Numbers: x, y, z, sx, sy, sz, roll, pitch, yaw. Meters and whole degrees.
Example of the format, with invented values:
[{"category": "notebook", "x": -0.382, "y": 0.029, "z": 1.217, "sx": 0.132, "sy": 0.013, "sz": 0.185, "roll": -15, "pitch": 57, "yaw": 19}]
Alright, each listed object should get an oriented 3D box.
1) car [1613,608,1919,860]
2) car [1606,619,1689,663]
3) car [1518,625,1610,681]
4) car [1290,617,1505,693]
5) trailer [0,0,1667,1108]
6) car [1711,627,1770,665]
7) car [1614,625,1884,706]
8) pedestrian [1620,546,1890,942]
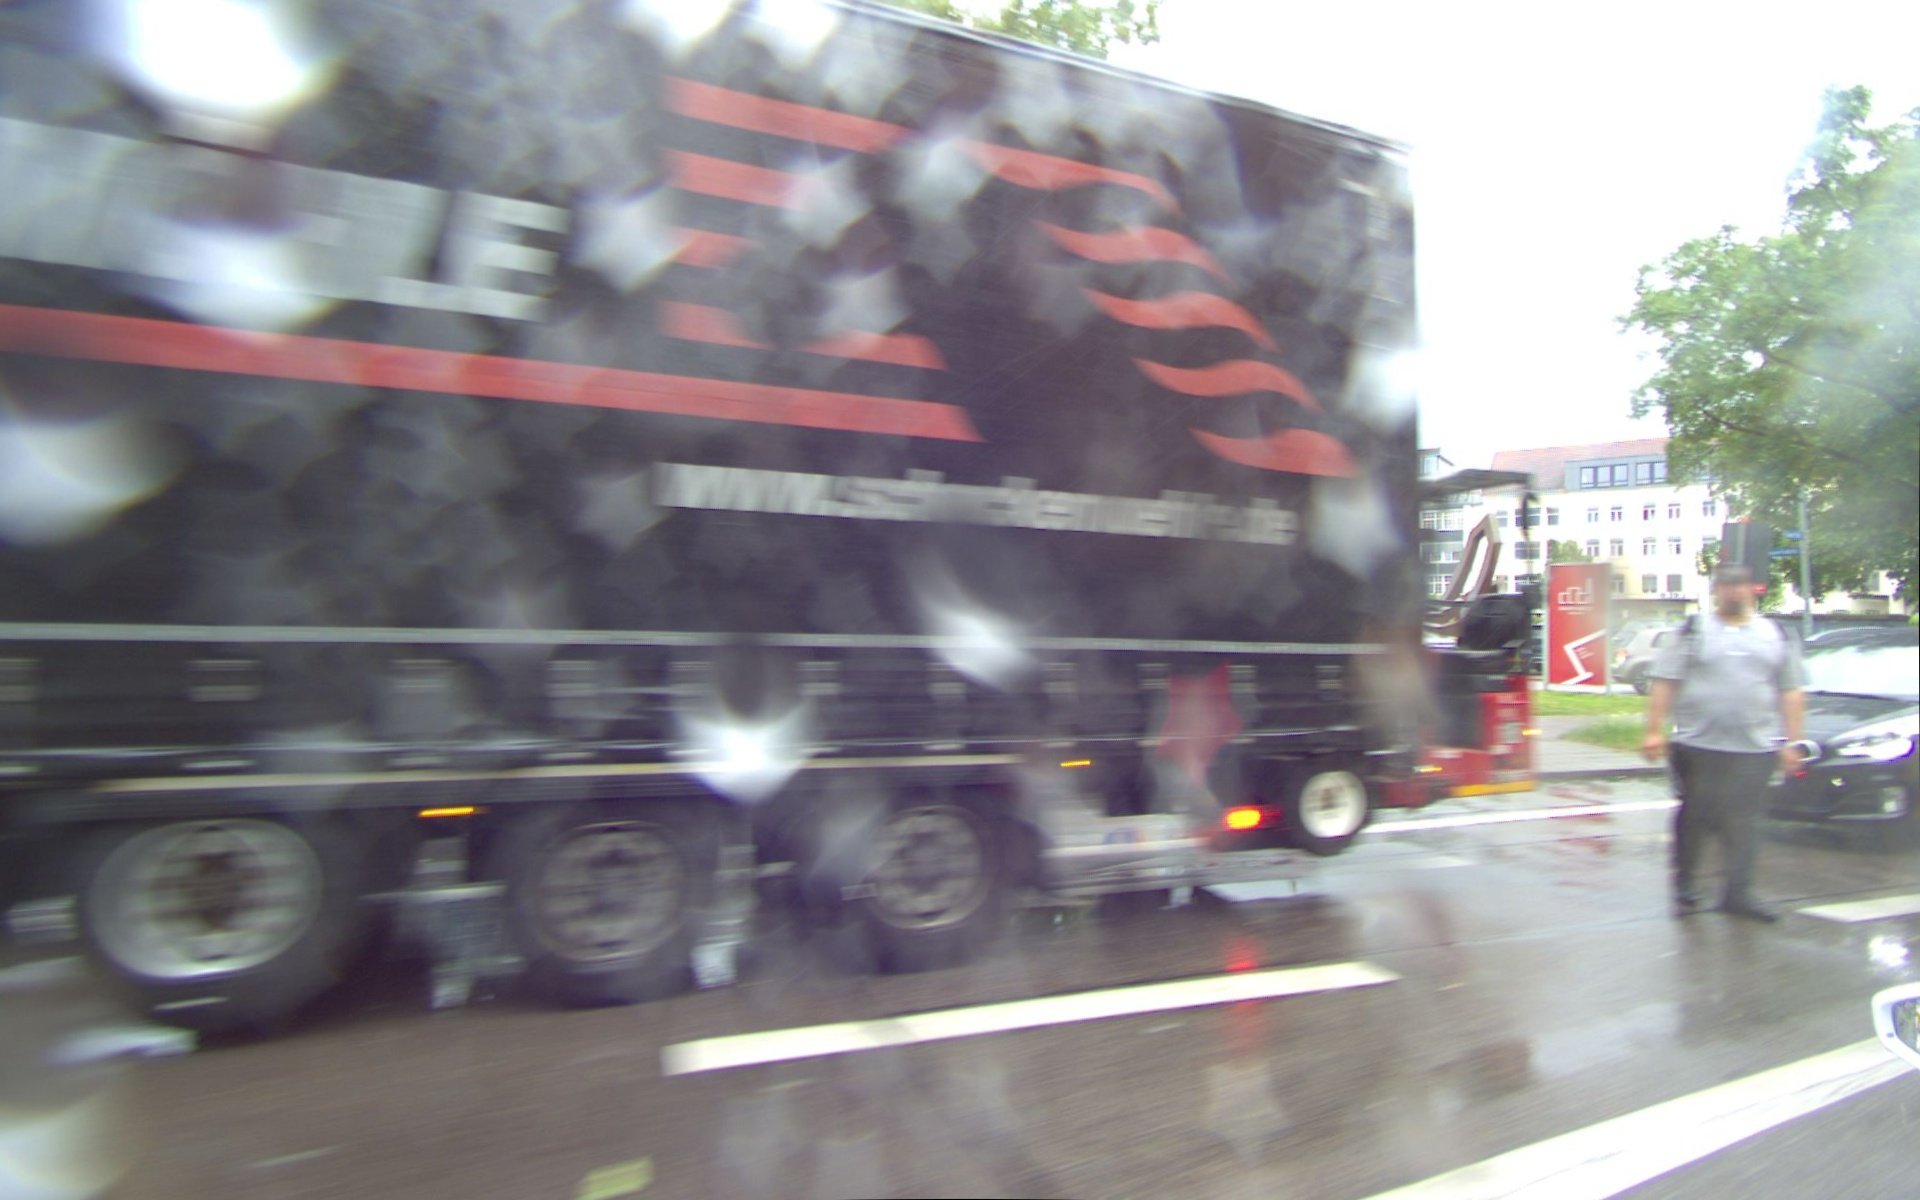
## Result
[{"category": "car", "x": 7.938, "y": 1.005, "z": 8.276, "sx": 4.730, "sy": 1.640, "sz": 1.865, "roll": 3, "pitch": -3, "yaw": -20}, {"category": "car", "x": 25.808, "y": 1.486, "z": 37.647, "sx": 1.972, "sy": 1.547, "sz": 4.409, "roll": -1, "pitch": -2, "yaw": 42}, {"category": "car", "x": 18.191, "y": 1.538, "z": 30.154, "sx": 1.763, "sy": 1.529, "sz": 4.281, "roll": -2, "pitch": -2, "yaw": 39}, {"category": "car", "x": 10.895, "y": 1.303, "z": 25.174, "sx": 4.577, "sy": 1.729, "sz": 2.037, "roll": -1, "pitch": -2, "yaw": 40}, {"category": "trailer", "x": -3.648, "y": -0.537, "z": 4.438, "sx": 14.826, "sy": 4.102, "sz": 3.437, "roll": 1, "pitch": -2, "yaw": -21}, {"category": "car", "x": 34.503, "y": 2.001, "z": 44.358, "sx": 1.777, "sy": 1.604, "sz": 3.979, "roll": -1, "pitch": -2, "yaw": 42}, {"category": "car", "x": 16.373, "y": 1.298, "z": 21.078, "sx": 4.273, "sy": 1.414, "sz": 2.004, "roll": 1, "pitch": -1, "yaw": 39}, {"category": "pedestrian", "x": 4.166, "y": 0.699, "z": 5.373, "sx": 0.854, "sy": 1.868, "sz": 0.992, "roll": -1, "pitch": -2, "yaw": 23}]
